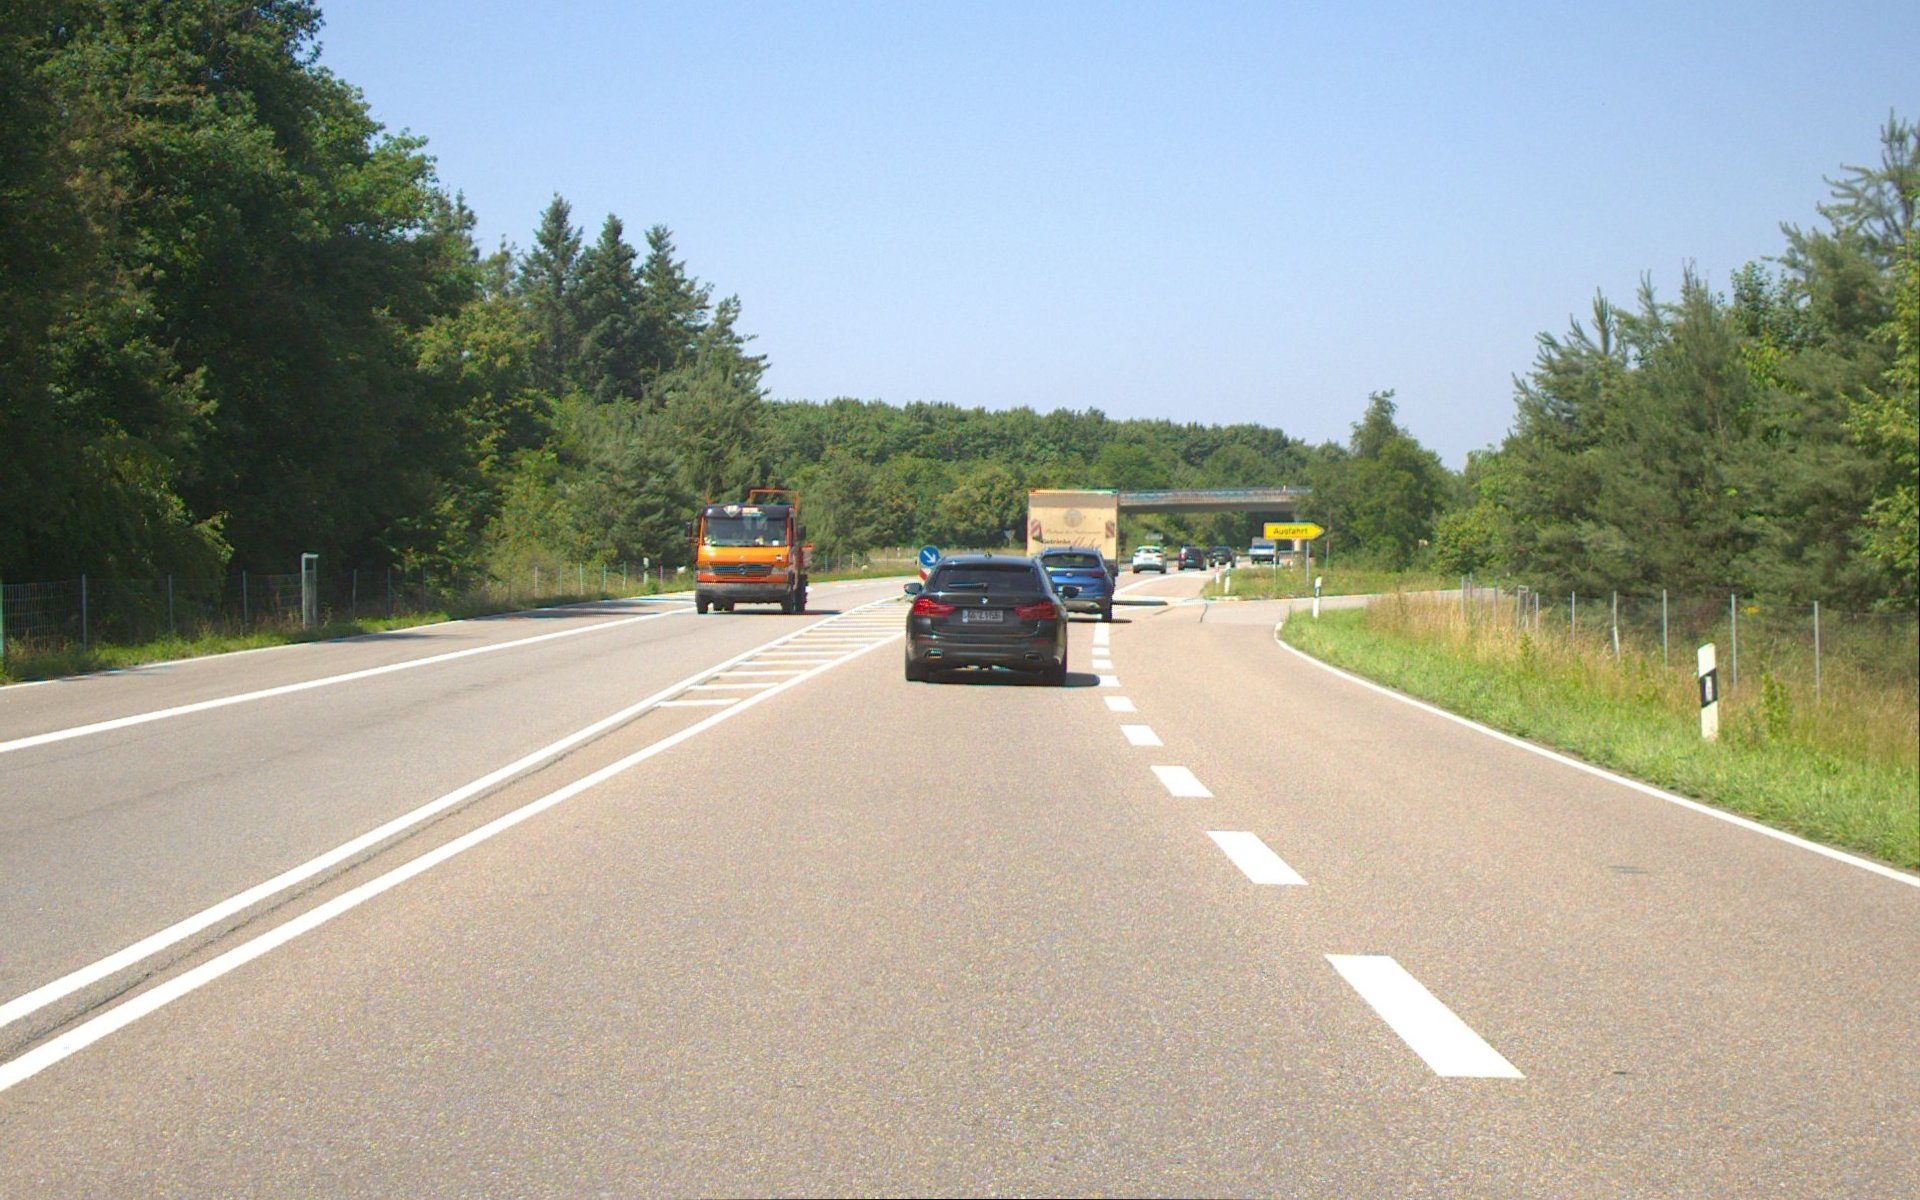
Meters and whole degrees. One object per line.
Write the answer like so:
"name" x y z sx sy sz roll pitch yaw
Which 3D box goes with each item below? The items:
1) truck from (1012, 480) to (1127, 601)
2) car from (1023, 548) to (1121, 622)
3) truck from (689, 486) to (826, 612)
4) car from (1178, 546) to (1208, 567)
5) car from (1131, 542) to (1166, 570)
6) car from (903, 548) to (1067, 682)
"truck" 3.119 -1.736 99.549 2.965 3.376 6.439 1 1 -1
"car" 2.436 -0.352 75.394 1.947 1.536 4.000 0 1 -1
"truck" -4.540 -1.167 78.223 2.399 2.713 6.551 1 1 3
"car" 16.237 -3.030 239.985 1.994 1.415 4.000 2 1 3
"car" 11.390 -2.665 207.685 1.863 1.600 4.000 1 1 0
"car" 0.267 0.135 40.443 1.820 1.465 4.000 0 1 0
